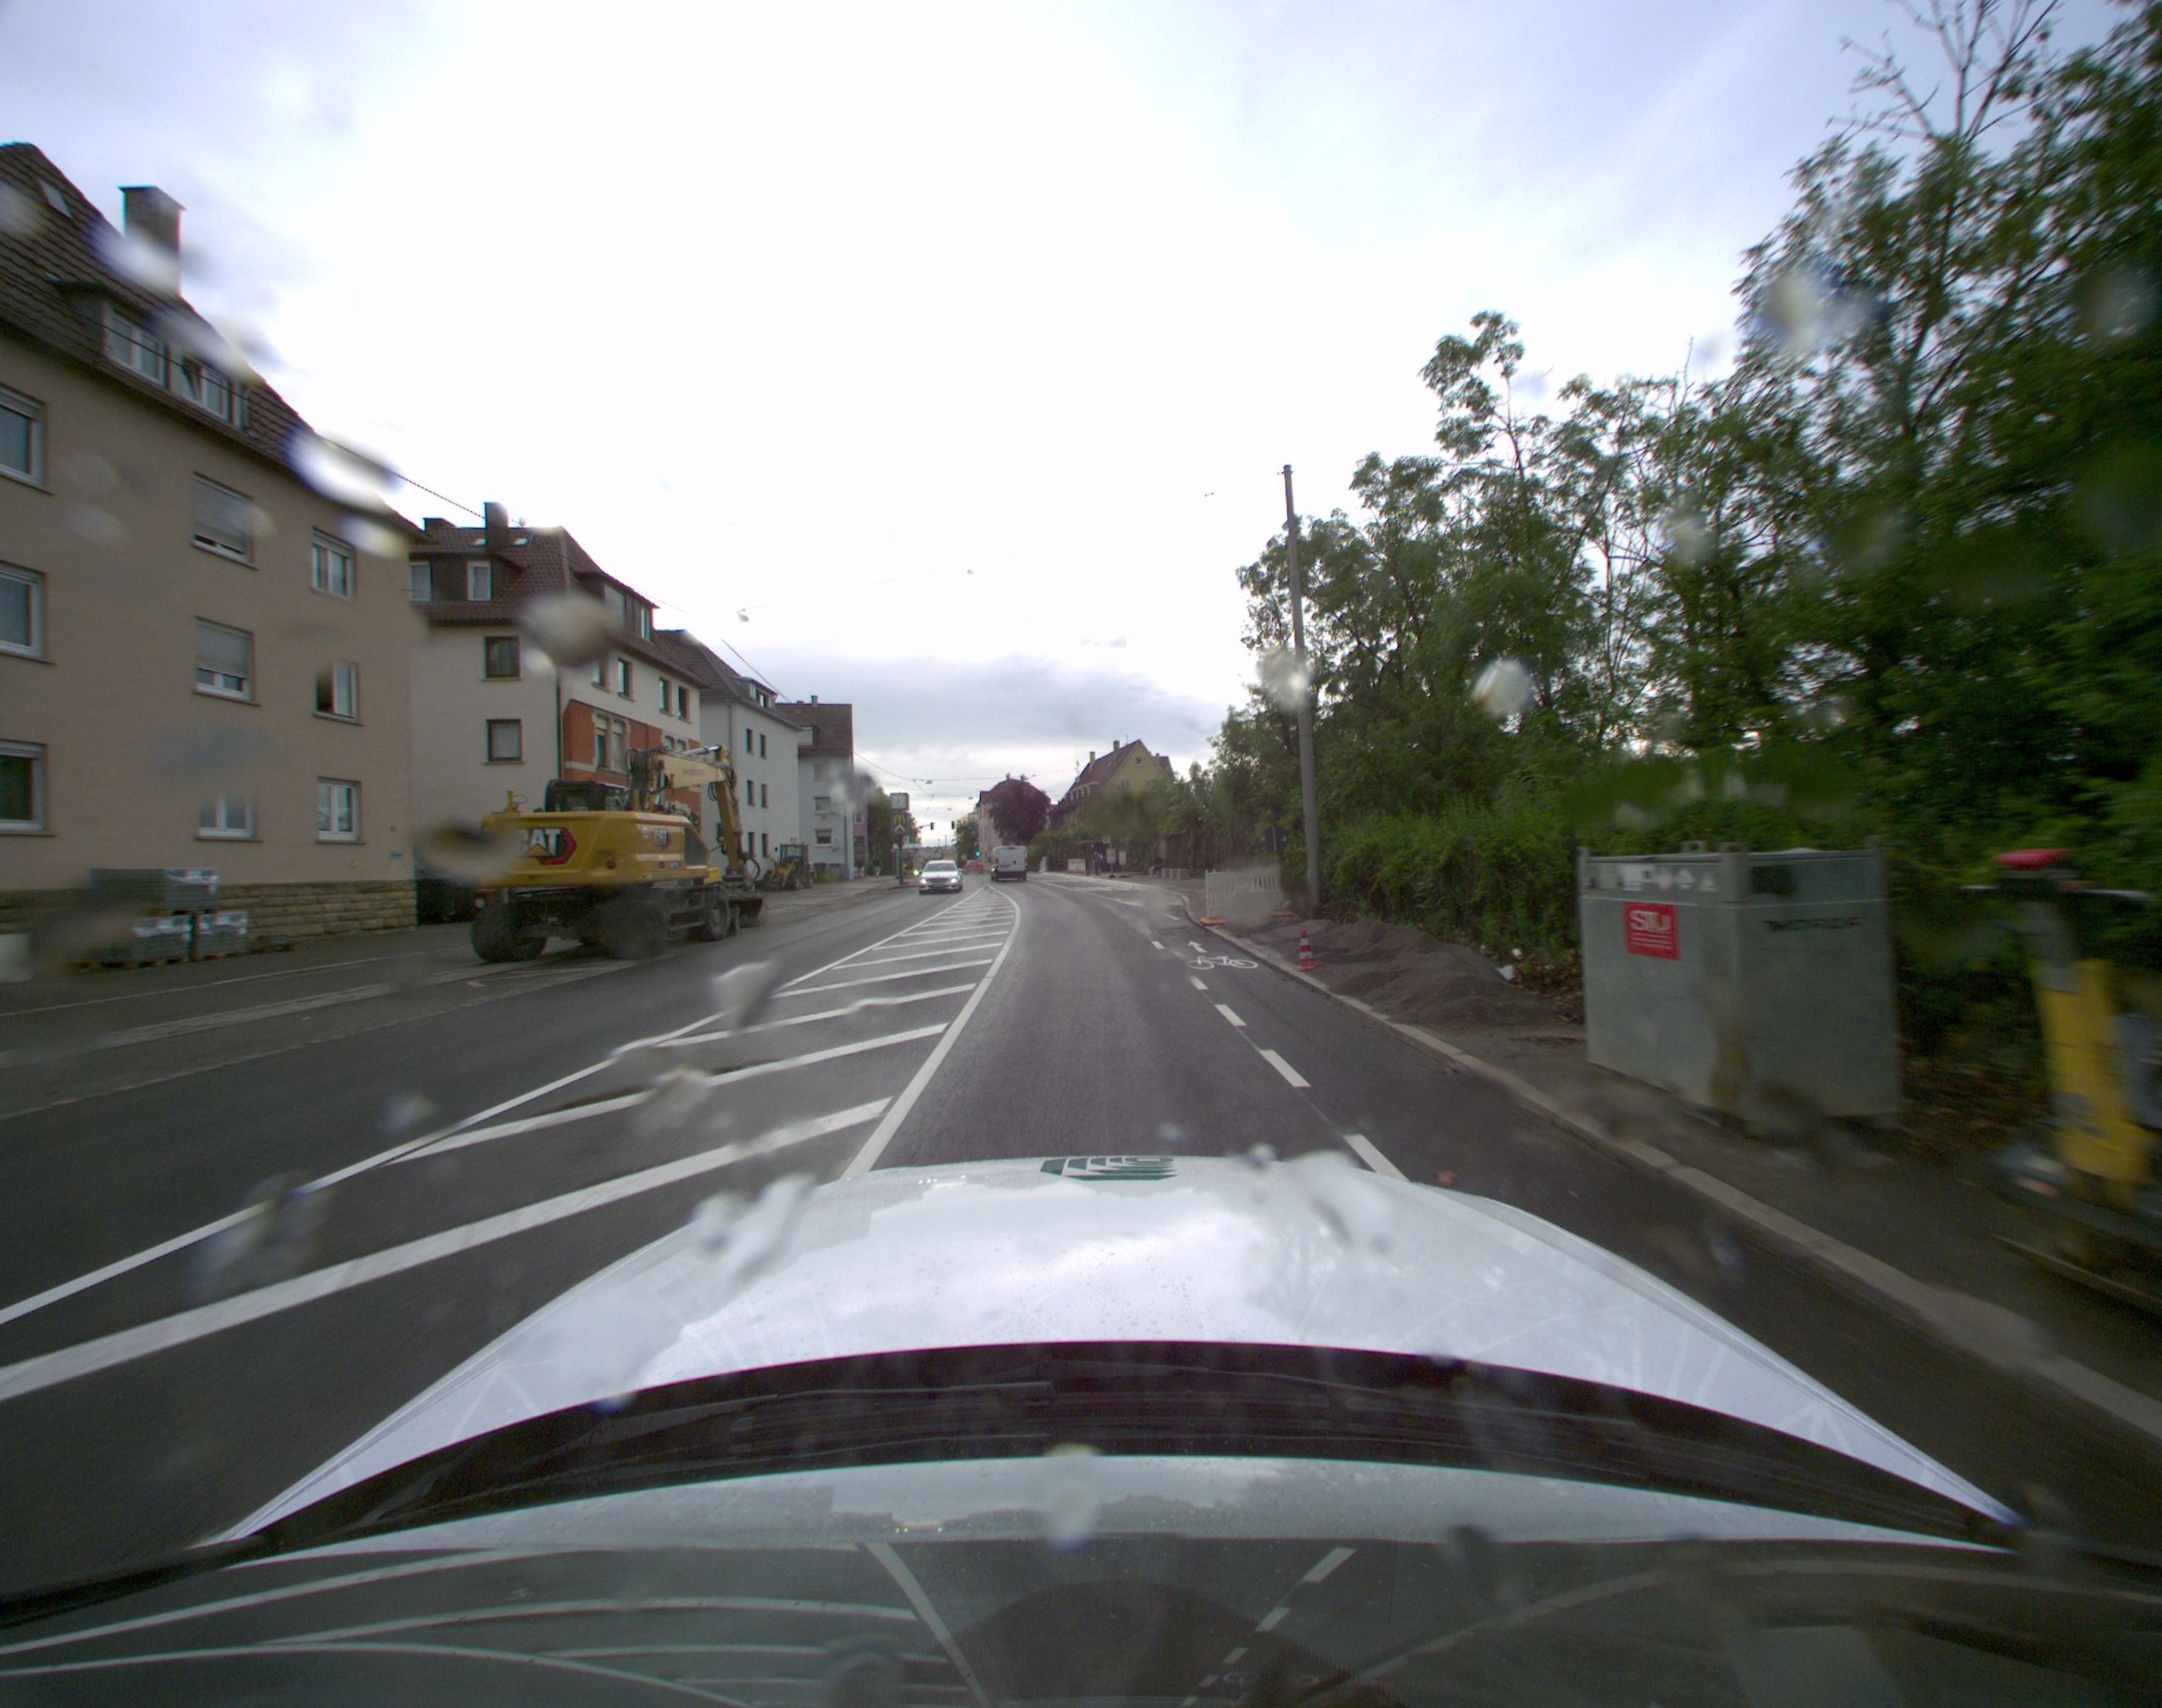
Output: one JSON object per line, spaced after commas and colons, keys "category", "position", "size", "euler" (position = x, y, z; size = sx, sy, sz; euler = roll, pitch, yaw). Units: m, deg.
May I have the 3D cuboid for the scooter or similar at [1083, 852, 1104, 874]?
{"category": "scooter or similar", "position": [0.875, 0.626, 55.668], "size": [0.491, 1.405, 1.565], "euler": [1, 3, 44]}

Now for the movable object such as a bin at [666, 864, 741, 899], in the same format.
{"category": "movable object such as a bin", "position": [-15.885, 1.140, 34.466], "size": [1.550, 1.355, 3.994], "euler": [0, -1, -4]}

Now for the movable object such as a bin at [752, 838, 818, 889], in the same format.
{"category": "movable object such as a bin", "position": [-16.704, 0.456, 46.211], "size": [1.987, 2.682, 4.629], "euler": [0, 1, 0]}

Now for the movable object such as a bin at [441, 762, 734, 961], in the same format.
{"category": "movable object such as a bin", "position": [-8.737, 0.128, 15.047], "size": [2.862, 3.173, 4.124], "euler": [0, -1, 0]}

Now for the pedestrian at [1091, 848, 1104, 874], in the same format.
{"category": "pedestrian", "position": [1.136, 0.466, 55.664], "size": [0.902, 1.731, 0.654], "euler": [0, 1, 1]}

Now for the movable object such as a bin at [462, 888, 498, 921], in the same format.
{"category": "movable object such as a bin", "position": [-17.446, 1.449, 23.646], "size": [0.633, 0.898, 0.574], "euler": [0, 1, -6]}

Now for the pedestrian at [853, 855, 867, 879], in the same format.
{"category": "pedestrian", "position": [-19.108, 1.133, 70.417], "size": [1.081, 2.013, 1.047], "euler": [0, 1, -15]}

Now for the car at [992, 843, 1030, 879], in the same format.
{"category": "car", "position": [-4.665, 0.422, 53.510], "size": [2.236, 2.213, 4.700], "euler": [0, 2, -9]}

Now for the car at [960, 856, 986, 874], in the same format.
{"category": "car", "position": [-11.208, 1.159, 84.391], "size": [2.240, 1.656, 4.692], "euler": [-1, 2, -14]}

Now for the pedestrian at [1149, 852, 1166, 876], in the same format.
{"category": "pedestrian", "position": [4.412, 0.558, 47.042], "size": [0.876, 1.367, 1.066], "euler": [0, 1, 1]}

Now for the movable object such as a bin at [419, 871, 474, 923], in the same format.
{"category": "movable object such as a bin", "position": [-18.245, 1.233, 23.442], "size": [0.852, 1.411, 0.956], "euler": [0, 1, -6]}

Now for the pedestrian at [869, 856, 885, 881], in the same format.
{"category": "pedestrian", "position": [-17.428, 1.234, 69.578], "size": [1.206, 2.013, 1.049], "euler": [0, 1, -10]}

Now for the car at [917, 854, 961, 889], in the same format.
{"category": "car", "position": [-6.638, 0.818, 38.469], "size": [1.928, 1.556, 4.605], "euler": [0, -1, -9]}
